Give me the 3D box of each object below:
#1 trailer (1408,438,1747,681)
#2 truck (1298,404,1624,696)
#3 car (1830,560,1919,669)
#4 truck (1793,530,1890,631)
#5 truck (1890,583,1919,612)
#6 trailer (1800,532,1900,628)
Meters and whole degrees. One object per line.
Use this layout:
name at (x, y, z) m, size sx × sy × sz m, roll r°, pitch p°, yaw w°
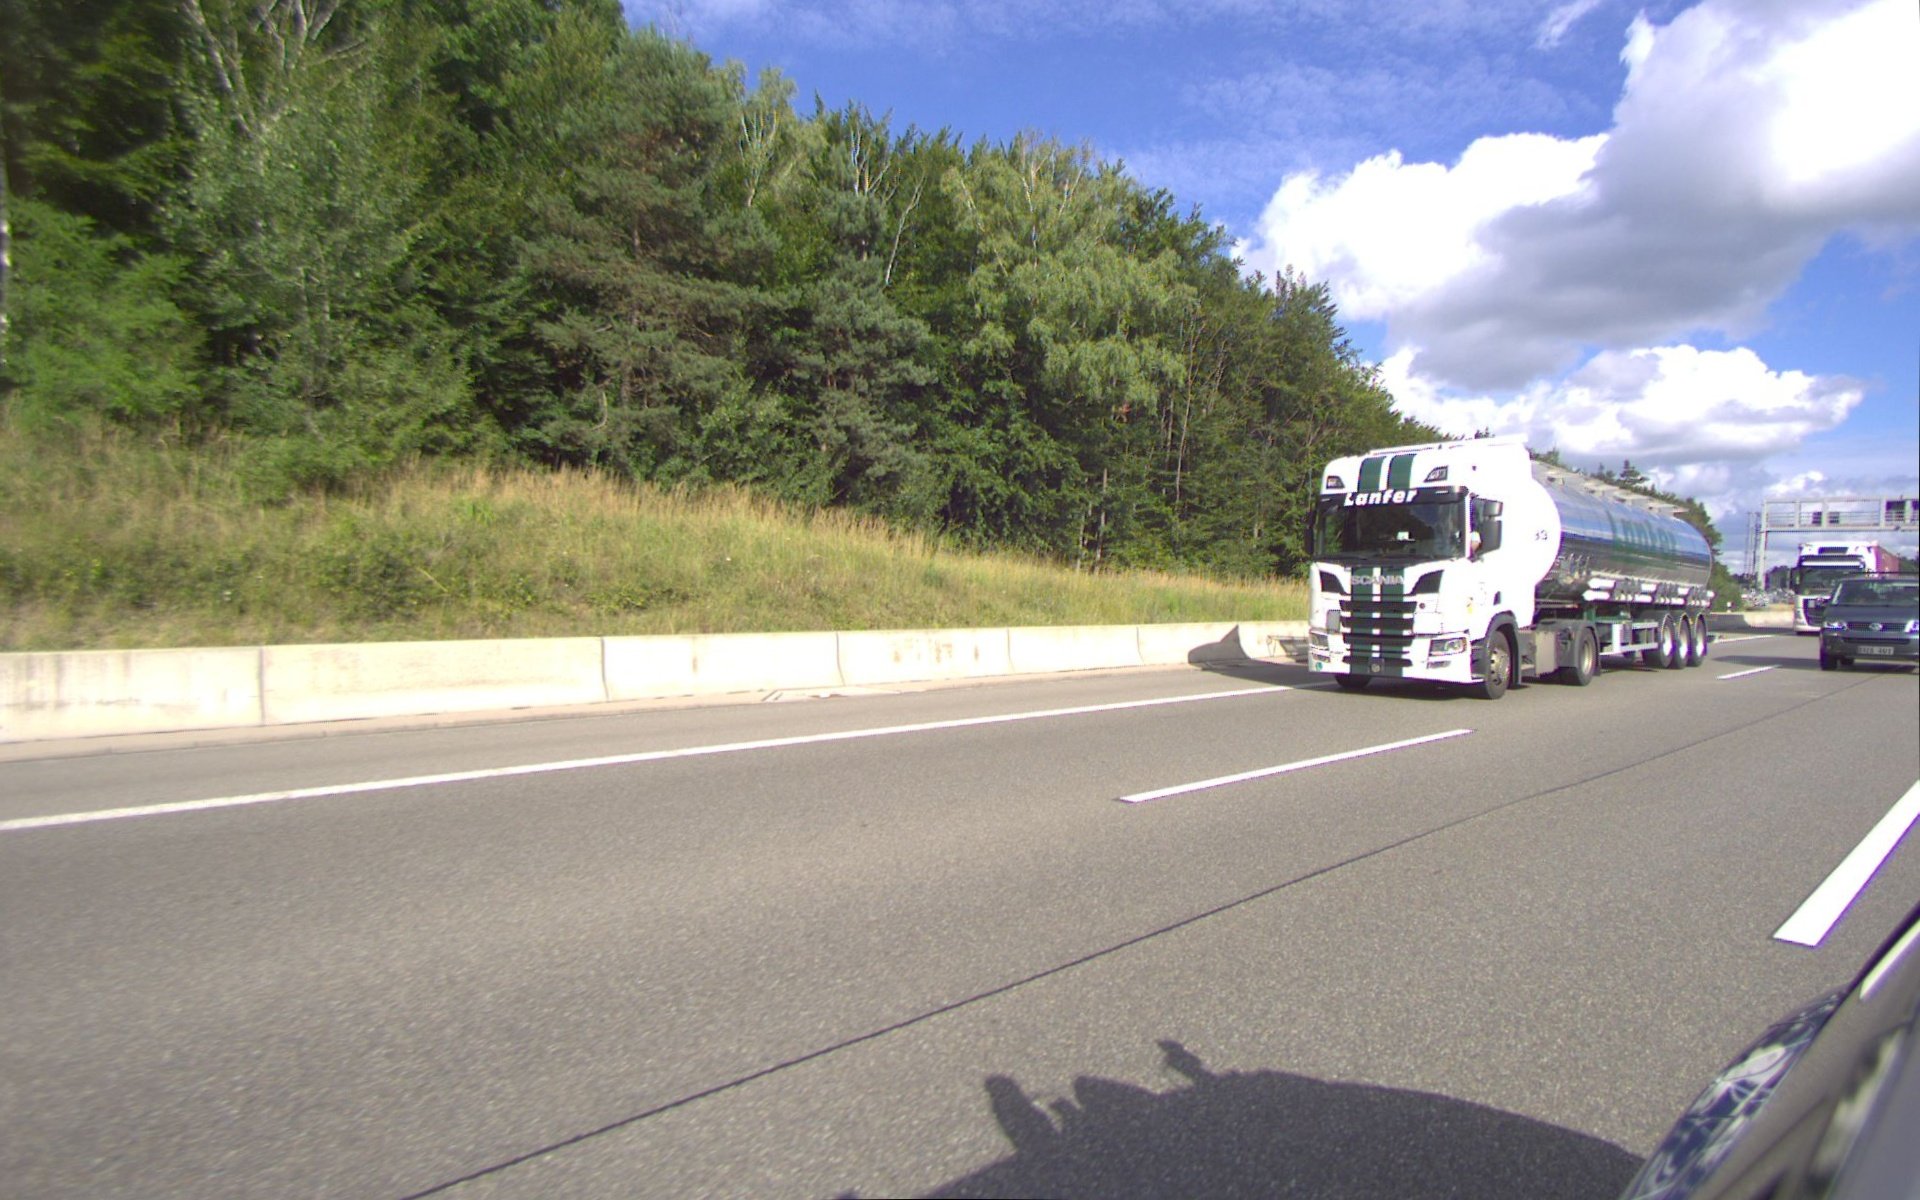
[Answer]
trailer at (13.179, -0.631, 20.803) m, size 11.654 × 3.814 × 2.653 m, roll 1°, pitch 1°, yaw -42°
truck at (8.281, -0.681, 16.398) m, size 5.976 × 3.871 × 2.653 m, roll 1°, pitch 1°, yaw -42°
car at (20.294, 0.277, 21.778) m, size 4.848 × 2.136 × 1.851 m, roll 0°, pitch 0°, yaw -43°
truck at (38.381, -0.806, 44.019) m, size 5.679 × 4.096 × 2.775 m, roll 1°, pitch 0°, yaw -45°
truck at (124.081, -0.318, 132.610) m, size 3.009 × 3.730 × 7.445 m, roll 2°, pitch 1°, yaw 42°
trailer at (43.030, -0.849, 48.710) m, size 2.775 × 4.096 × 13.490 m, roll 1°, pitch 0°, yaw 45°
